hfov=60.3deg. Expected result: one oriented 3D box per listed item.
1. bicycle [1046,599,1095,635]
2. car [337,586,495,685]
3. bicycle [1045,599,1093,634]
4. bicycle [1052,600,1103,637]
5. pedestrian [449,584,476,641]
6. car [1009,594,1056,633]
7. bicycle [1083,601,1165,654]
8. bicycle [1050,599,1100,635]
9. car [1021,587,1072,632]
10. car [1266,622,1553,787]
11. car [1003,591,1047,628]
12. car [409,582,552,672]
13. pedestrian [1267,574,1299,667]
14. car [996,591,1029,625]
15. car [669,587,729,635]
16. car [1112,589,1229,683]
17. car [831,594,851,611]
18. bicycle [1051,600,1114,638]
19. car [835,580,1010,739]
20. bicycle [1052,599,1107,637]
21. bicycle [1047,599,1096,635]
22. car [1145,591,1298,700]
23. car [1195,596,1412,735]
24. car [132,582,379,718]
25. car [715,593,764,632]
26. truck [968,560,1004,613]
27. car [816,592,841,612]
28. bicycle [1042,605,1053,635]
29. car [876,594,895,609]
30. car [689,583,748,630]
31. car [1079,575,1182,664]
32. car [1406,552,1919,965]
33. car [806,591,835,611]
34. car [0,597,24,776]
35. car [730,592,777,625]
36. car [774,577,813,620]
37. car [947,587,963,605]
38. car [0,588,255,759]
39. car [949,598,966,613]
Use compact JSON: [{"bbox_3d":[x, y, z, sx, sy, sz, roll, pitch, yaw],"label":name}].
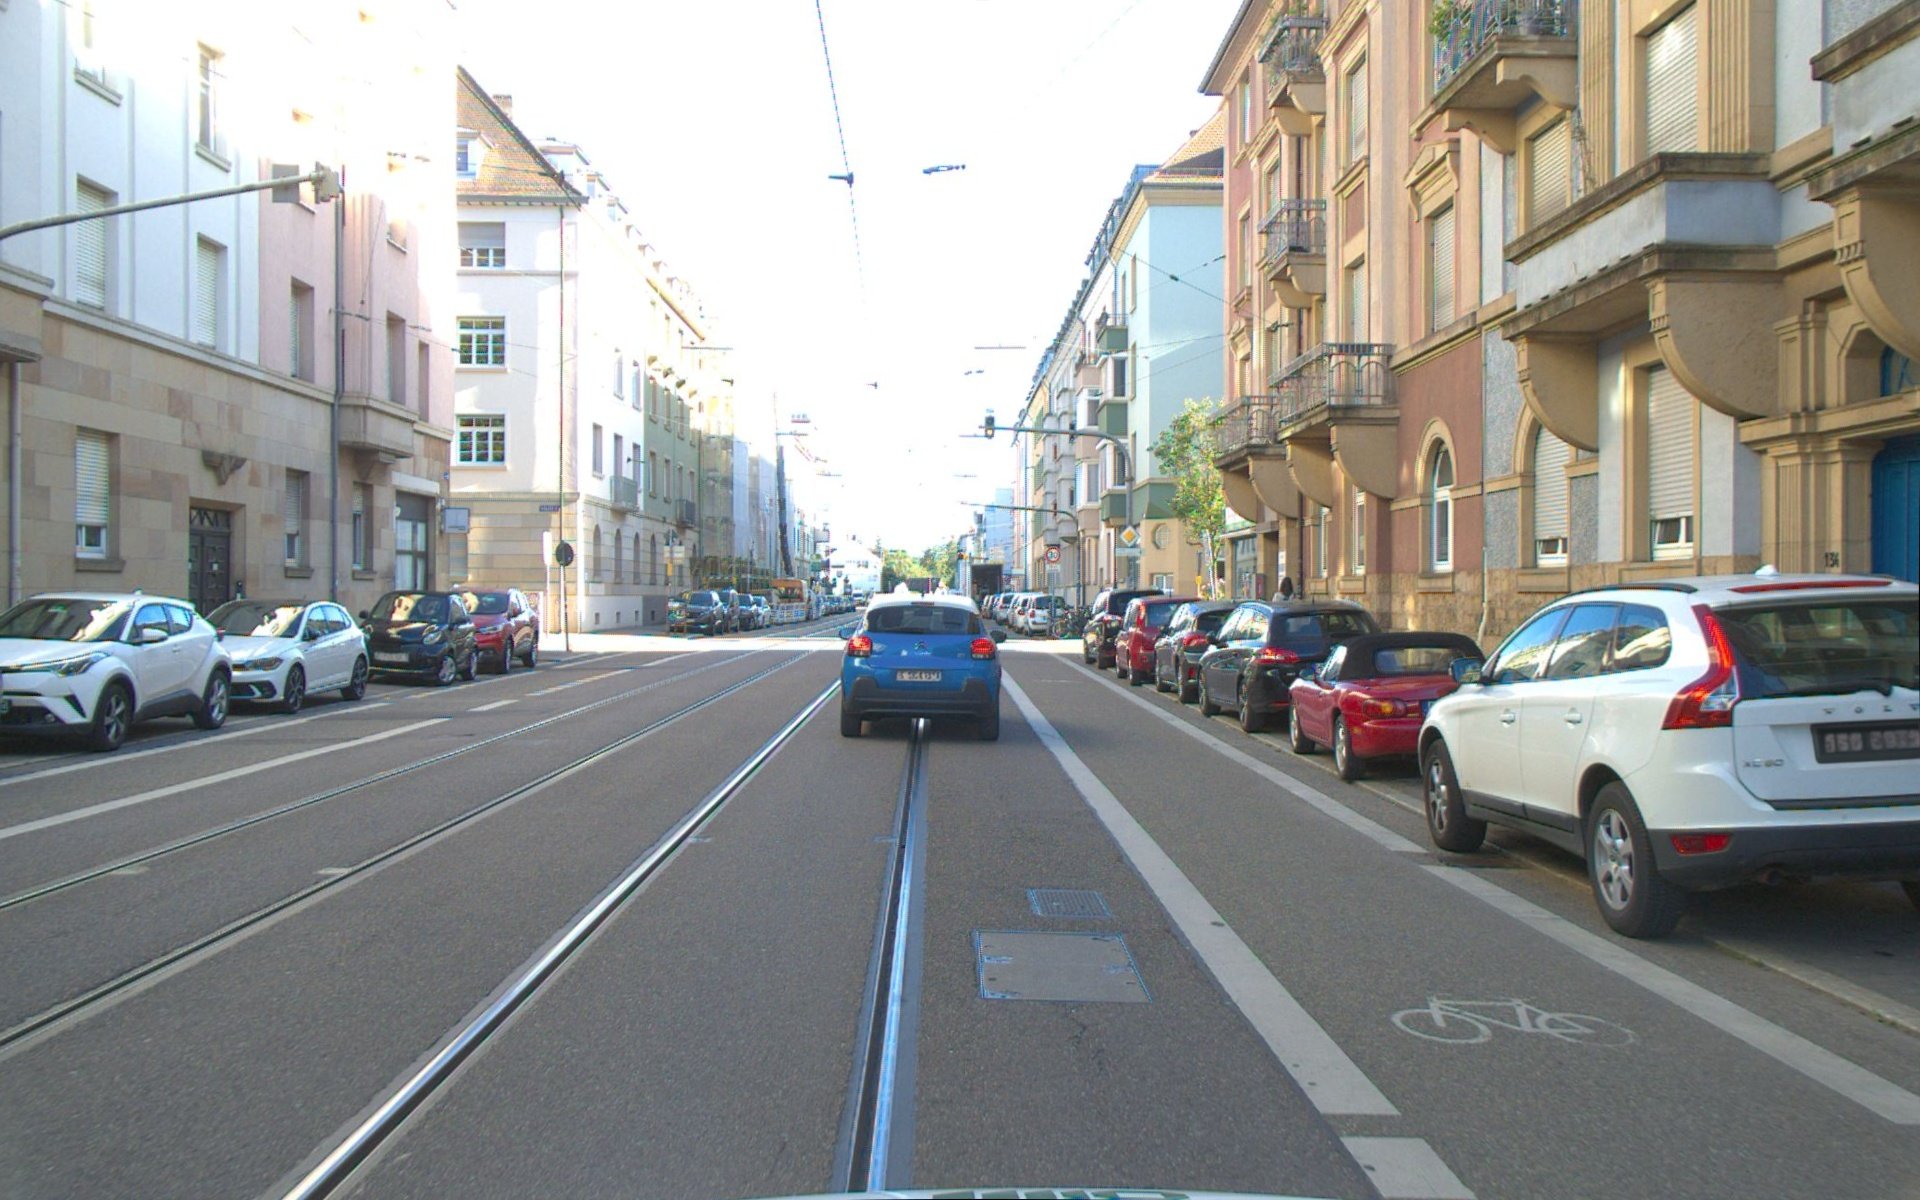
[{"bbox_3d":[4.001,0.613,59.959,1.688,1.174,0.469,-3,0,-1],"label":"bicycle"},{"bbox_3d":[-9.422,0.578,28.854,1.747,1.580,3.019,2,0,-1],"label":"car"},{"bbox_3d":[3.987,0.617,60.587,1.688,1.174,0.469,-3,0,-1],"label":"bicycle"},{"bbox_3d":[4.114,0.641,58.112,1.688,1.174,0.469,-3,0,-1],"label":"bicycle"},{"bbox_3d":[-15.213,0.383,50.596,0.594,1.742,0.731,0,0,-1],"label":"pedestrian"},{"bbox_3d":[3.041,0.541,69.705,1.747,1.603,4.326,0,0,-1],"label":"car"},{"bbox_3d":[3.980,0.668,40.216,1.919,1.248,0.527,-1,0,-1],"label":"bicycle"},{"bbox_3d":[4.087,0.597,58.659,1.688,1.174,0.469,-3,0,-1],"label":"bicycle"},{"bbox_3d":[3.313,0.348,63.963,1.747,1.660,3.999,0,0,-1],"label":"car"},{"bbox_3d":[4.086,0.879,15.746,1.620,1.271,4.506,0,0,2],"label":"car"},{"bbox_3d":[3.148,0.450,80.800,1.622,1.782,4.598,0,0,-5],"label":"car"},{"bbox_3d":[-9.587,0.499,33.420,1.747,1.634,4.395,2,0,-3],"label":"car"},{"bbox_3d":[6.002,0.369,30.732,0.502,1.716,0.448,0,0,-1],"label":"pedestrian"},{"bbox_3d":[2.919,0.415,92.841,1.695,1.859,4.686,0,0,-1],"label":"car"},{"bbox_3d":[-10.043,0.384,63.906,1.747,1.720,4.665,2,0,-3],"label":"car"},{"bbox_3d":[3.823,0.613,30.529,1.717,1.622,3.729,0,0,0],"label":"car"},{"bbox_3d":[-11.856,0.227,165.218,1.789,1.660,3.904,0,0,-1],"label":"car"},{"bbox_3d":[4.146,0.641,56.184,2.044,1.174,0.848,-3,0,-1],"label":"bicycle"},{"bbox_3d":[-0.390,0.587,18.504,1.700,1.533,3.992,2,0,-1],"label":"car"},{"bbox_3d":[4.113,0.615,56.875,1.805,1.174,0.469,-3,0,-1],"label":"bicycle"},{"bbox_3d":[3.992,0.596,59.338,1.688,1.174,0.469,-3,0,-1],"label":"bicycle"},{"bbox_3d":[3.968,0.641,25.721,1.620,1.539,4.473,0,0,-1],"label":"car"},{"bbox_3d":[4.082,0.712,20.362,1.621,1.509,4.472,0,0,-2],"label":"car"},{"bbox_3d":[-9.592,0.617,22.900,1.747,1.650,4.177,2,0,-3],"label":"car"},{"bbox_3d":[-10.000,0.527,75.303,1.747,1.655,4.606,2,0,-3],"label":"car"},{"bbox_3d":[2.054,-1.081,134.910,2.794,4.154,11.271,0,0,0],"label":"truck"},{"bbox_3d":[-11.537,0.182,145.151,1.788,1.660,4.848,0,0,-1],"label":"car"},{"bbox_3d":[3.125,0.707,59.122,0.345,1.063,1.728,0,0,1],"label":"bicycle"},{"bbox_3d":[-7.989,0.170,177.902,1.788,1.660,4.490,0,0,-1],"label":"car"},{"bbox_3d":[-10.136,0.246,69.679,1.747,1.848,4.528,2,0,0],"label":"car"},{"bbox_3d":[3.710,0.400,36.708,1.718,1.766,4.506,-3,0,0],"label":"car"},{"bbox_3d":[4.001,0.652,9.161,1.805,1.720,4.504,0,0,-1],"label":"car"},{"bbox_3d":[-11.743,0.096,139.372,2.101,1.650,3.999,-1,0,-1],"label":"car"},{"bbox_3d":[-9.130,0.736,12.456,1.747,1.550,4.358,2,0,-2],"label":"car"},{"bbox_3d":[-10.174,0.407,81.607,1.683,1.529,4.388,2,0,1],"label":"car"},{"bbox_3d":[-9.930,-0.088,99.002,2.101,2.519,4.977,0,0,-3],"label":"car"},{"bbox_3d":[-0.754,-0.552,226.995,2.174,2.324,4.083,0,0,-1],"label":"car"},{"bbox_3d":[-9.335,0.684,17.826,1.736,1.574,4.363,2,0,-3],"label":"car"},{"bbox_3d":[-0.253,0.551,168.255,1.729,1.513,4.031,0,0,-1],"label":"car"}]
